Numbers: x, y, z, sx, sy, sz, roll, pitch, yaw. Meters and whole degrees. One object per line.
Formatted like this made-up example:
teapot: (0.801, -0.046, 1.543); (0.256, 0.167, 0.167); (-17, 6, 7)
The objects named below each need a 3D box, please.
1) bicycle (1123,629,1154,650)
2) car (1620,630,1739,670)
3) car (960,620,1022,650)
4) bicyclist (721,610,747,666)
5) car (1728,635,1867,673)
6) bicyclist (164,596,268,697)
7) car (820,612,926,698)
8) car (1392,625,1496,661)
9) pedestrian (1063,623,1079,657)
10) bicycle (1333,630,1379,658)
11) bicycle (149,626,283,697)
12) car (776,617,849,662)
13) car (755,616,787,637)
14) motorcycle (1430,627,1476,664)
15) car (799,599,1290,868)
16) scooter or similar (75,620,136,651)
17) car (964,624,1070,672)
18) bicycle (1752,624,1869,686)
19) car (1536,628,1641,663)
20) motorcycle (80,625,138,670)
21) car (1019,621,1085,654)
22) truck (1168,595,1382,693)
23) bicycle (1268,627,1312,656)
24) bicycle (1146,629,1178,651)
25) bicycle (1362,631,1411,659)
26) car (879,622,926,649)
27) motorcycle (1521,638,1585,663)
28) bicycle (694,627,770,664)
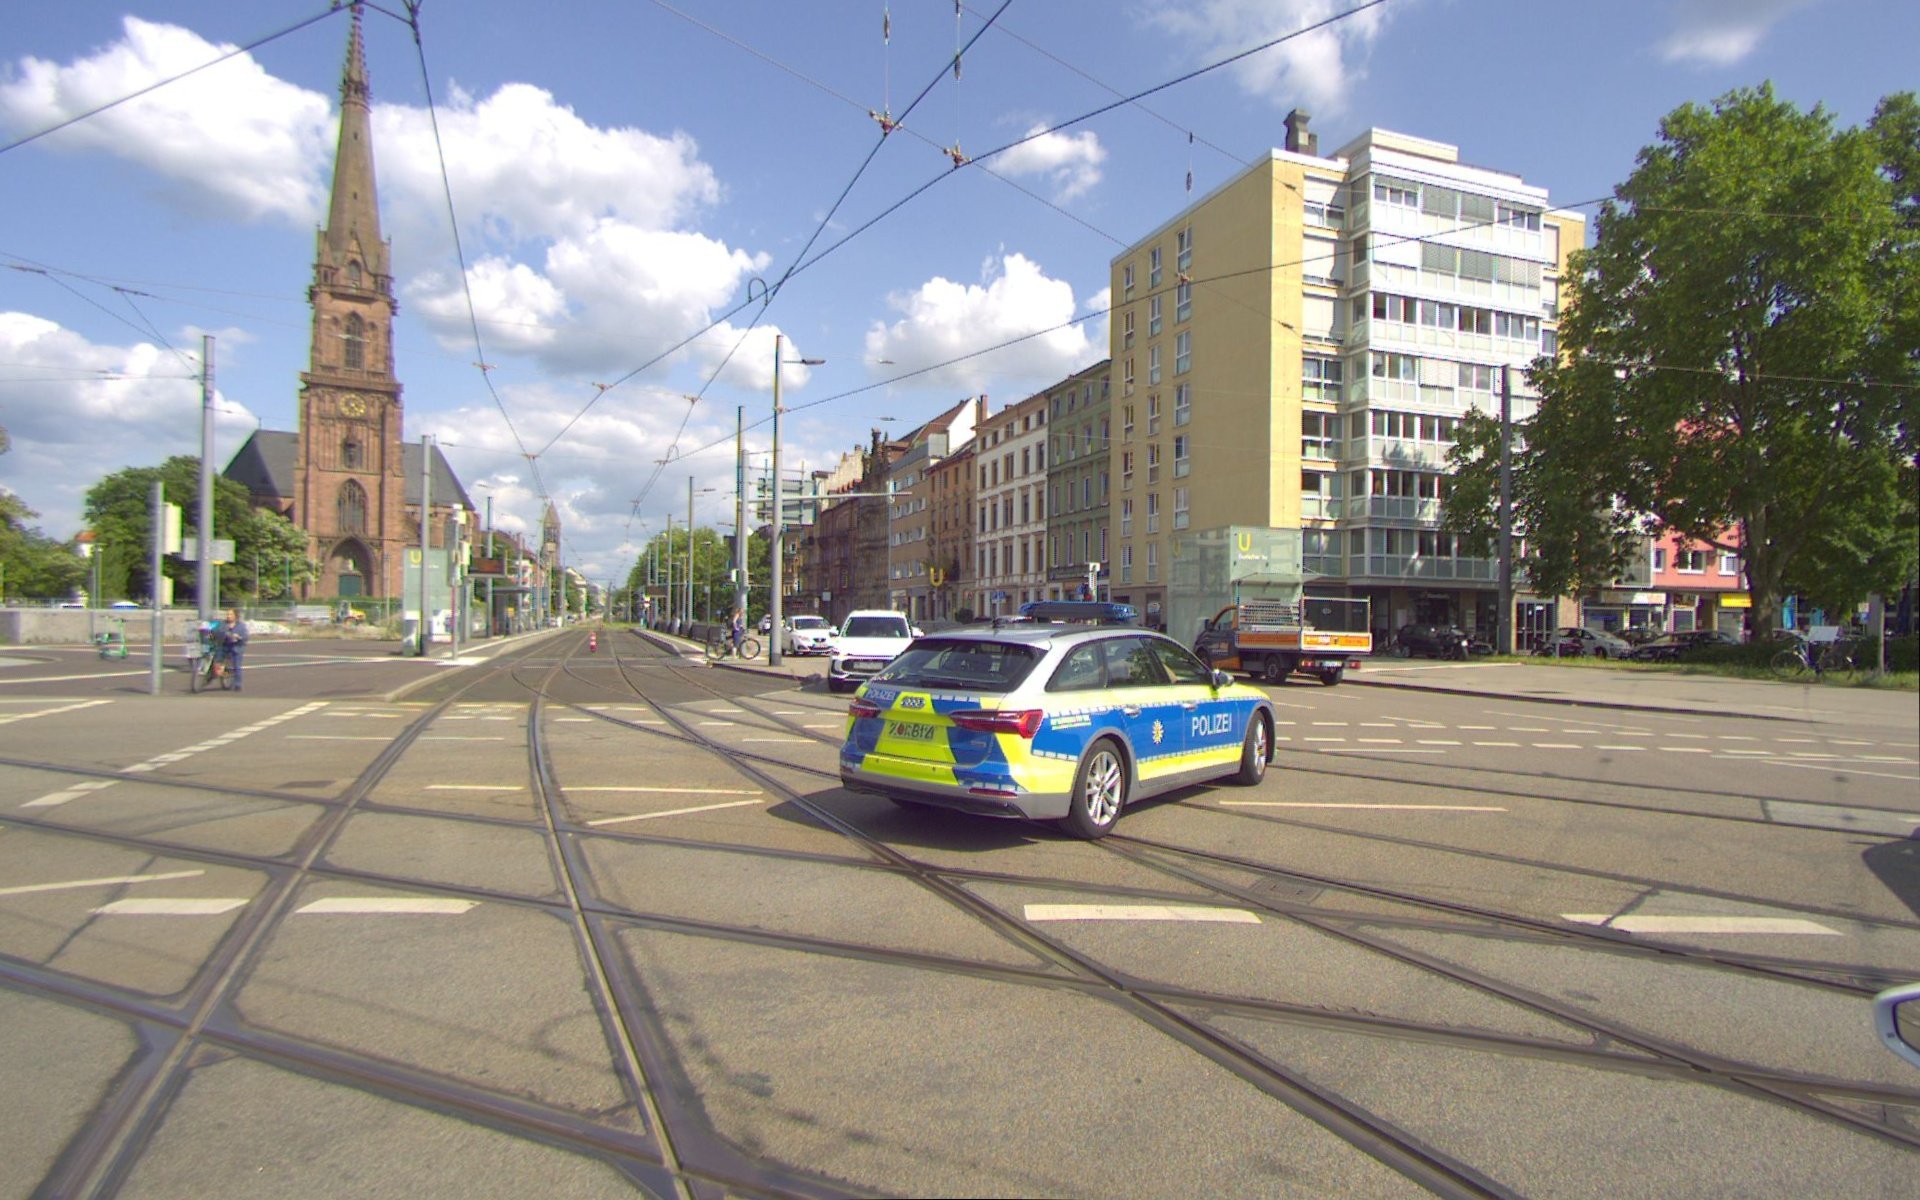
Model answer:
bicycle: (9.909, 2.188, 55.743); (0.786, 1.118, 1.798); (1, -1, -26)
car: (28.386, 1.969, 39.641); (3.938, 1.432, 1.904); (2, -2, -19)
car: (1.737, 1.924, 54.504); (1.864, 1.516, 3.896); (1, -2, 27)
bicyclist: (-7.545, 1.243, 33.501); (0.700, 1.821, 0.775); (1, 1, -25)
car: (31.662, 2.014, 38.113); (1.603, 1.344, 3.995); (2, -2, -9)
bicyclist: (-13.513, 0.836, 18.297); (0.977, 1.754, 1.299); (1, -2, -9)
car: (-1.778, 1.131, 21.763); (2.003, 1.661, 4.288); (0, -1, -1)
car: (20.834, 1.846, 43.401); (1.648, 1.416, 3.979); (2, -1, -22)
pedestrian: (5.103, 1.854, 46.181); (0.545, 1.554, 0.698); (1, -2, -10)
bicycle: (17.235, 1.899, 43.746); (0.786, 1.162, 1.799); (1, -1, -25)
bicycle: (-13.505, 1.095, 18.335); (0.977, 1.204, 2.297); (1, -2, -9)
car: (-5.422, 1.399, 36.584); (1.969, 1.548, 4.077); (1, -1, -18)
car: (-15.335, 2.120, 81.307); (2.014, 1.599, 4.521); (1, 0, -18)
motorcycle: (17.529, 1.596, 35.739); (0.887, 1.254, 2.220); (-1, -1, 11)
car: (1.001, 0.845, 8.329); (1.857, 1.589, 4.596); (0, -1, 38)
scooter or similar: (-33.726, 1.381, 39.663); (0.837, 1.120, 1.644); (2, 1, 26)
car: (1.801, 1.545, 33.263); (1.829, 1.494, 3.974); (1, -2, -26)
bicycle: (21.580, 1.365, 25.548); (0.800, 1.433, 2.164); (0, 0, -22)
car: (29.764, 2.126, 47.726); (1.776, 1.515, 3.980); (1, -1, -22)
motorcycle: (-24.428, 1.357, 28.859); (0.475, 1.253, 1.446); (1, -2, -5)
car: (4.542, 1.864, 49.362); (1.865, 1.516, 3.895); (1, -2, 28)
truck: (7.768, 1.067, 25.585); (2.309, 2.183, 5.830); (1, -1, -17)
bicycle: (15.263, 1.911, 46.432); (1.778, 1.275, 0.795); (1, -1, -11)
bicycle: (10.820, 2.152, 53.907); (0.786, 1.118, 1.798); (1, -1, -26)
bicycle: (18.533, 1.944, 43.647); (0.786, 1.162, 1.938); (1, -1, -25)
car: (-3.254, 1.953, 56.050); (1.715, 1.395, 3.985); (1, -1, -18)
motorcycle: (22.111, 1.875, 37.488); (2.008, 0.929, 0.810); (-1, -2, 30)
bicycle: (-7.595, 1.504, 33.494); (2.326, 1.153, 0.884); (1, 1, -26)
